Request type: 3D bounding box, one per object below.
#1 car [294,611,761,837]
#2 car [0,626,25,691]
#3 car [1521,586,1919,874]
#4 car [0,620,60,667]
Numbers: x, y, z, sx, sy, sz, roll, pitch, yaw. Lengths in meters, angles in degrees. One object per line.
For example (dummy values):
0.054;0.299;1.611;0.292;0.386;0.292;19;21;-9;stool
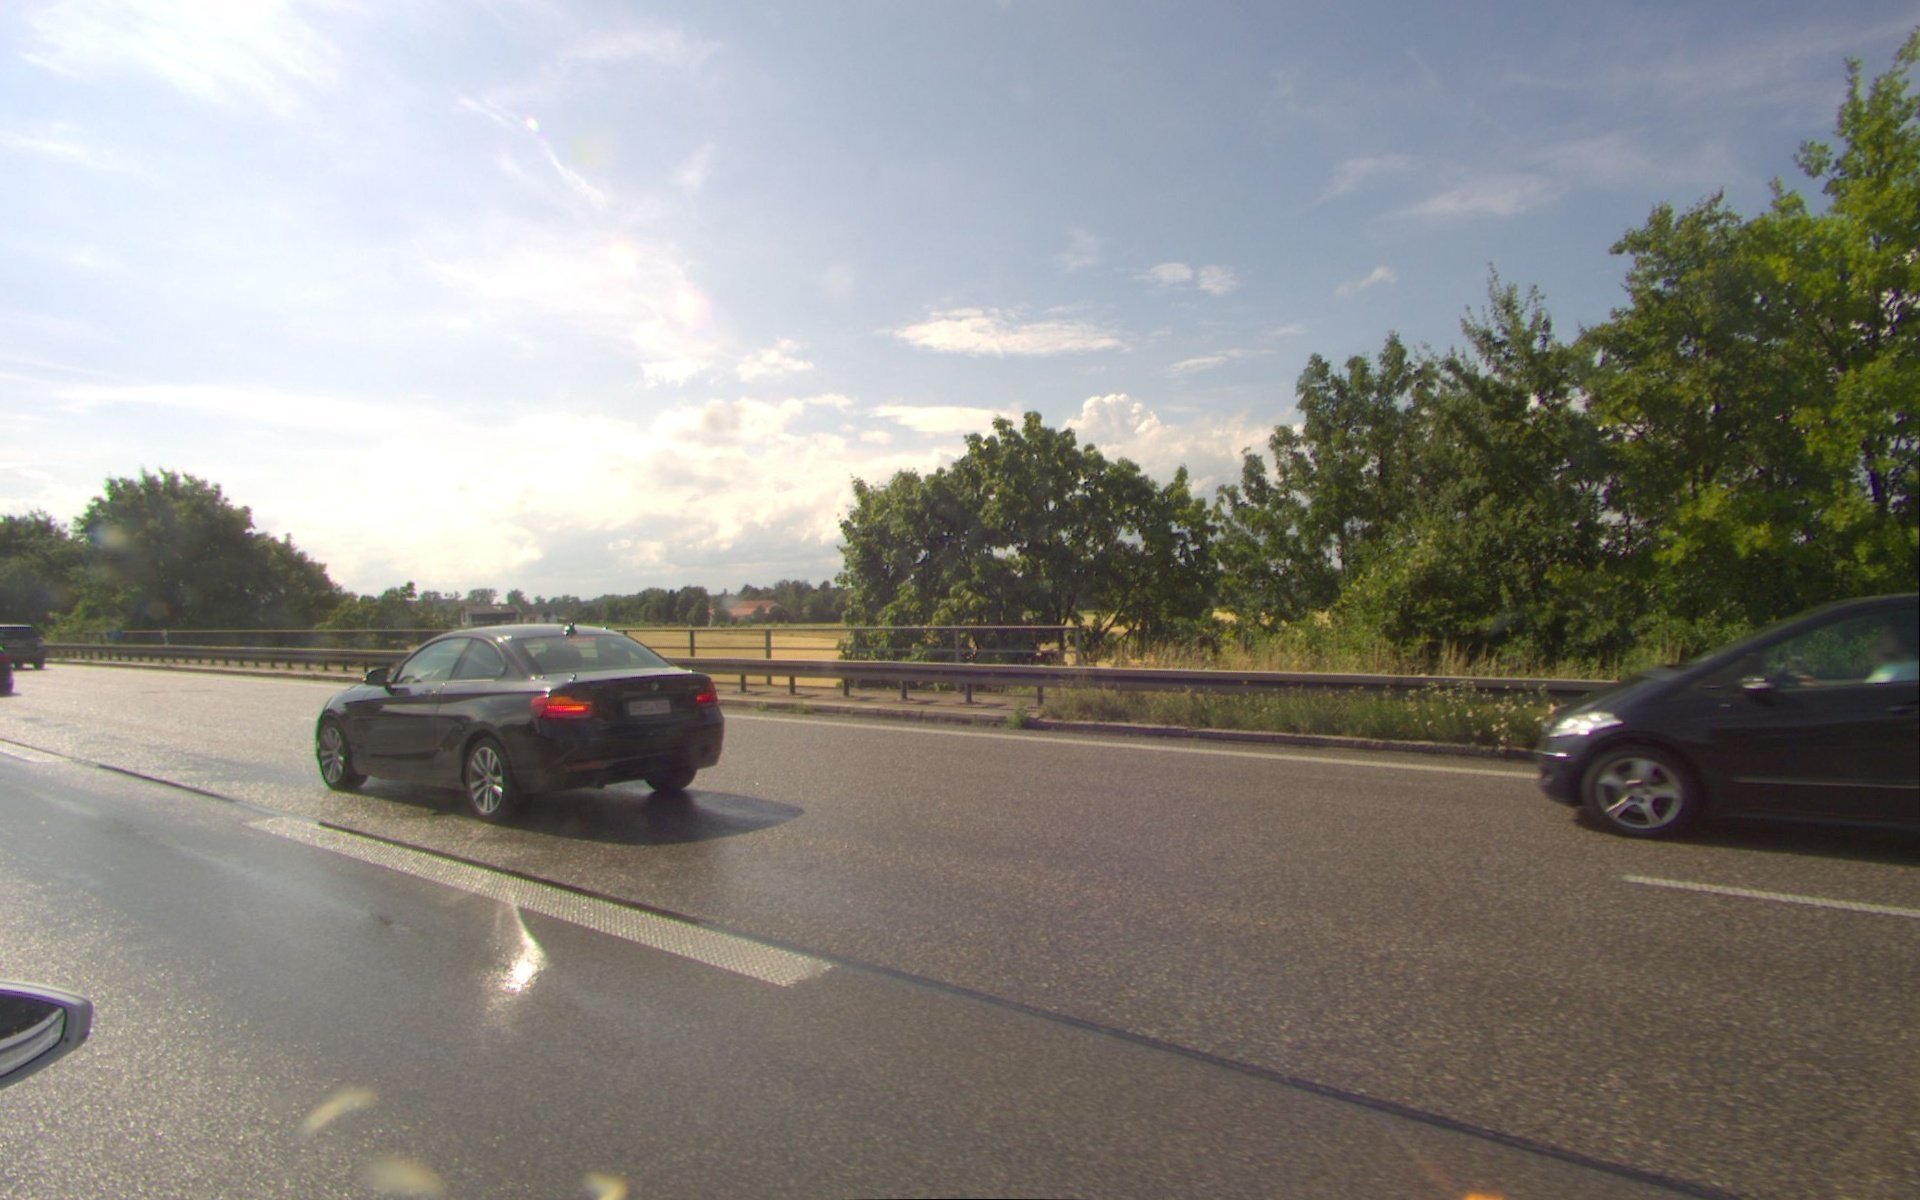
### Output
-3.857;0.877;8.667;4.200;1.483;1.842;-1;0;36;car
-23.275;1.340;23.162;3.785;1.439;1.735;-1;-1;36;car
5.853;0.722;6.229;3.948;1.589;1.843;-1;-1;36;car
-34.931;1.565;36.942;4.328;1.634;1.782;-1;-1;37;car
